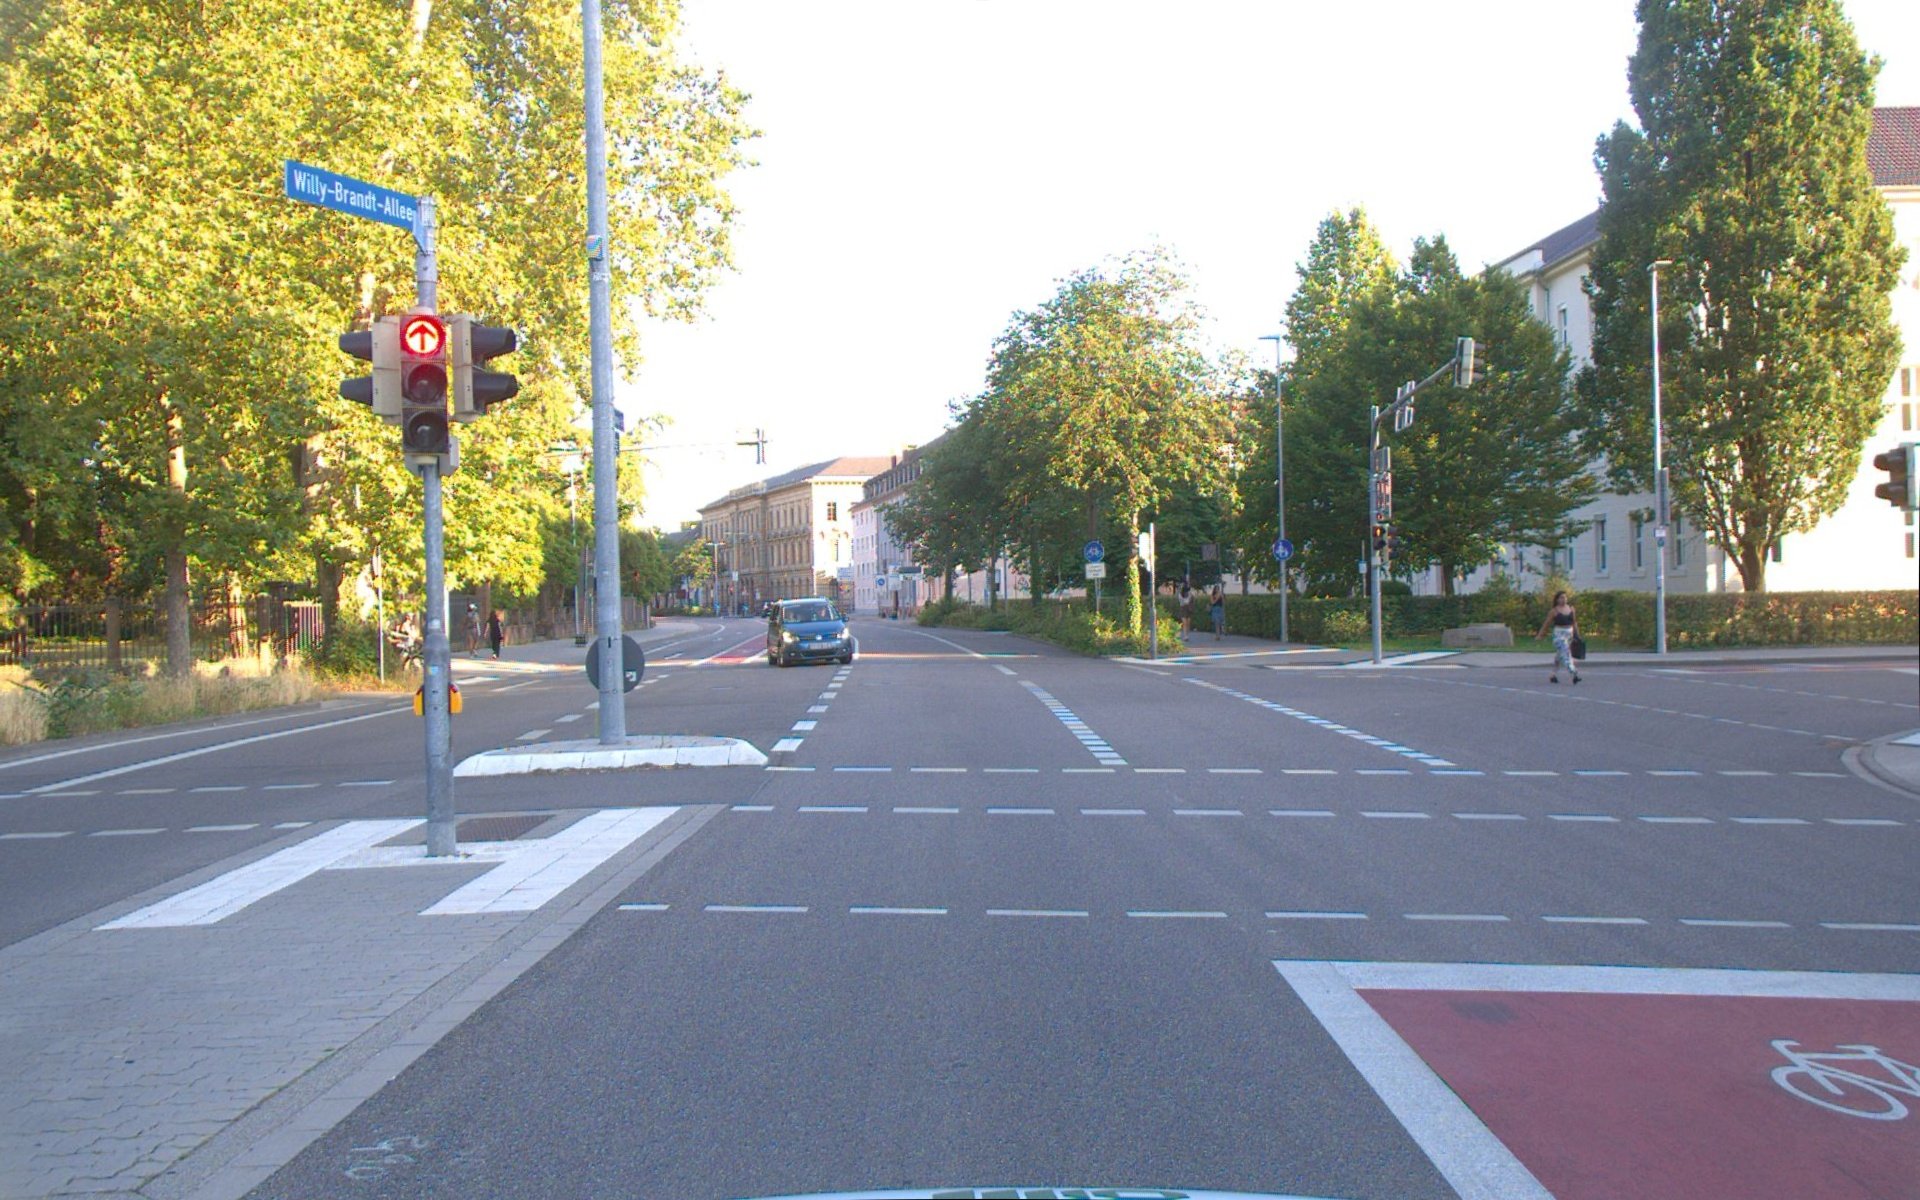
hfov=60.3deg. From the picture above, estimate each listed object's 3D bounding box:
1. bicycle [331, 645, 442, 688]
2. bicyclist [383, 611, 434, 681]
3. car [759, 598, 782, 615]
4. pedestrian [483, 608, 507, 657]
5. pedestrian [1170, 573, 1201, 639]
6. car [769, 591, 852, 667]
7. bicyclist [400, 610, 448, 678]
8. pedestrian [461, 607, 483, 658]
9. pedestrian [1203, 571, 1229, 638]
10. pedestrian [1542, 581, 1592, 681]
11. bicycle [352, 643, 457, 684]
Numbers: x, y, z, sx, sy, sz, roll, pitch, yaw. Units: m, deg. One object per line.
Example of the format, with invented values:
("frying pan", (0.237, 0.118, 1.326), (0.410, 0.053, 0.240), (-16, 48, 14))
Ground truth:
("bicycle", (-13.879, 1.610, 40.045), (2.380, 0.940, 0.775), (-1, 0, 0))
("bicyclist", (-13.347, 1.100, 40.066), (0.938, 1.659, 0.752), (-1, 0, 0))
("car", (-19.422, 0.644, 169.429), (1.789, 1.616, 3.984), (-2, 0, -15))
("pedestrian", (-15.226, 1.060, 54.139), (0.587, 1.601, 0.646), (-1, 0, -1))
("pedestrian", (7.094, 0.180, 52.133), (0.852, 2.049, 0.722), (0, 0, -1))
("car", (-3.815, 0.697, 41.723), (1.815, 1.750, 4.287), (-1, 0, -8))
("bicyclist", (-13.537, 1.099, 41.768), (0.938, 1.659, 0.752), (-1, 0, 0))
("pedestrian", (-15.994, 1.064, 54.236), (0.524, 1.624, 0.590), (-1, 0, -1))
("pedestrian", (7.992, 0.140, 51.636), (0.622, 2.049, 0.720), (0, 0, -5))
("pedestrian", (10.215, 0.507, 27.843), (0.587, 1.664, 0.691), (0, 0, 0))
("bicycle", (-14.012, 1.610, 41.770), (2.380, 0.940, 0.775), (-1, 0, 0))
